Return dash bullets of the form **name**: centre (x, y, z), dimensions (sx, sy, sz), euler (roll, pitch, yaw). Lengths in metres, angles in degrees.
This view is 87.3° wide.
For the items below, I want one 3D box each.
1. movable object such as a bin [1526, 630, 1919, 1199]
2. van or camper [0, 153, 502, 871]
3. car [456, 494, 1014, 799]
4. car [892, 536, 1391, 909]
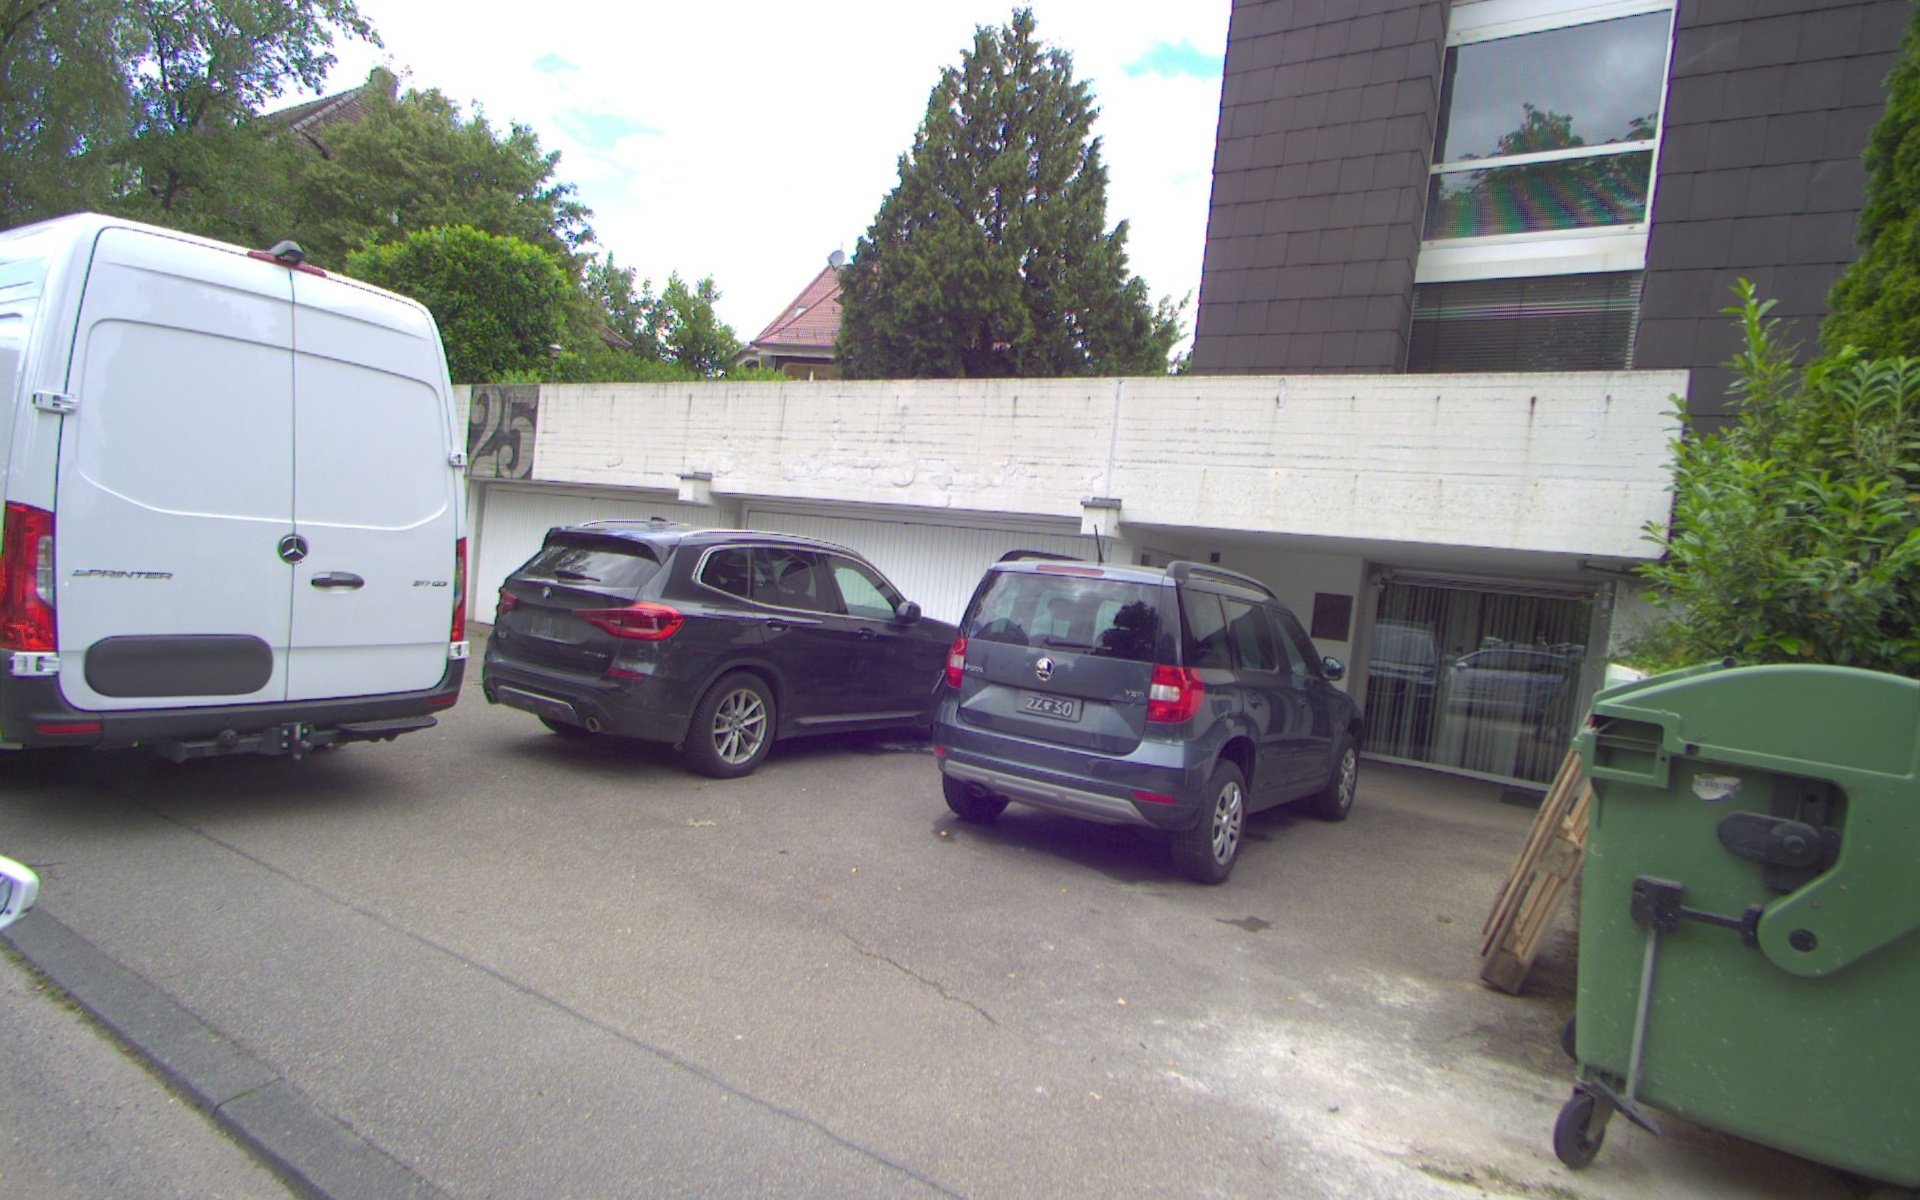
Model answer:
- **movable object such as a bin**: centre (2.419, 0.897, 2.984), dimensions (1.098, 1.469, 1.405), euler (6, 1, 32)
- **van or camper**: centre (-5.764, -0.585, 6.284), dimensions (6.436, 2.662, 1.990), euler (6, 4, 32)
- **car**: centre (-1.418, 0.312, 8.057), dimensions (1.668, 1.696, 4.383), euler (6, 1, 32)
- **car**: centre (1.493, 0.635, 6.804), dimensions (1.717, 1.673, 3.899), euler (6, 1, 35)
